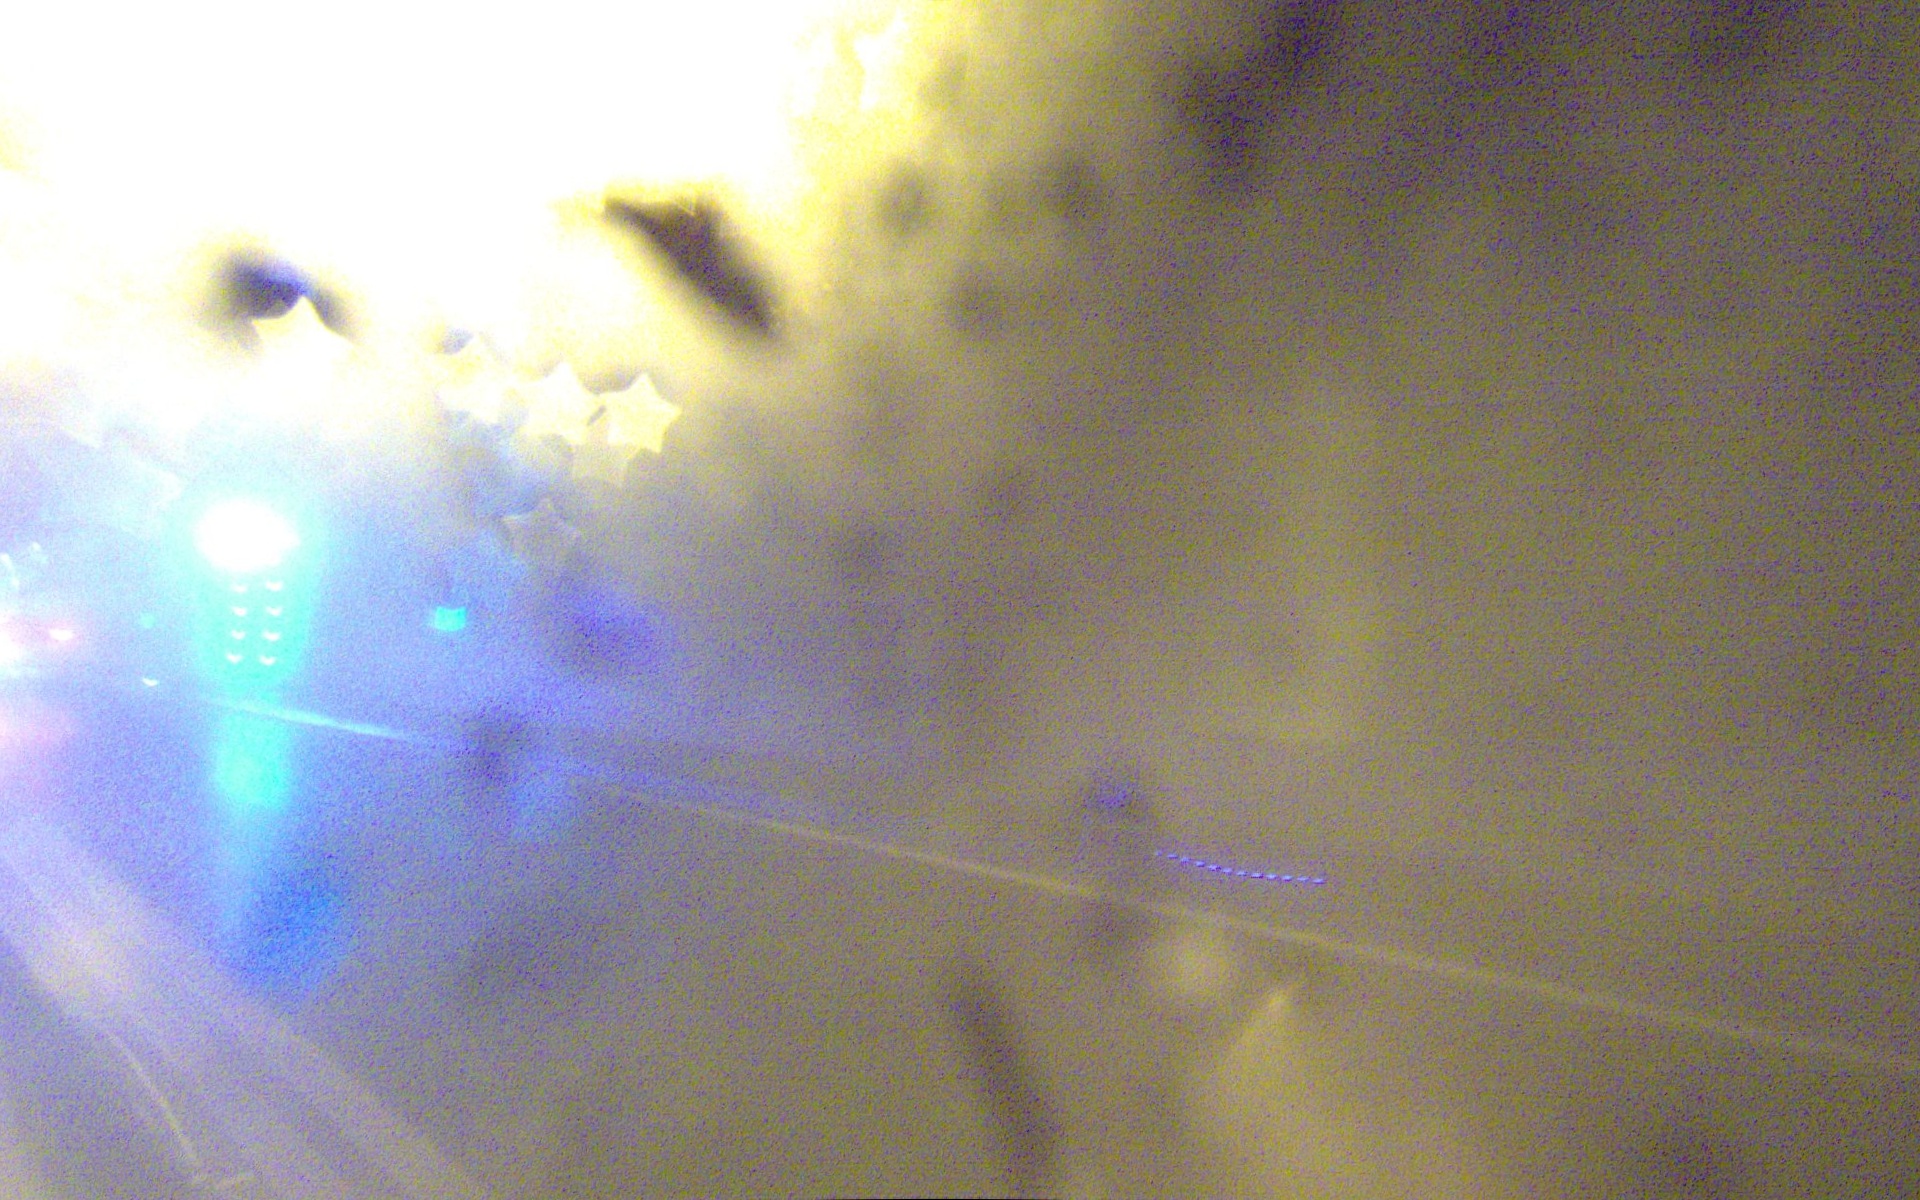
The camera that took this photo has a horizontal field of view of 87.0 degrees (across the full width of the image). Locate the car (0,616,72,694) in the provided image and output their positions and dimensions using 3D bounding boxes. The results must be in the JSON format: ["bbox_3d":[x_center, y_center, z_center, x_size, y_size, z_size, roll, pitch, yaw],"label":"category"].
[{"bbox_3d":[-20.269,1.132,21.439,3.742,1.516,1.673,-1,-1,40],"label":"car"}]
